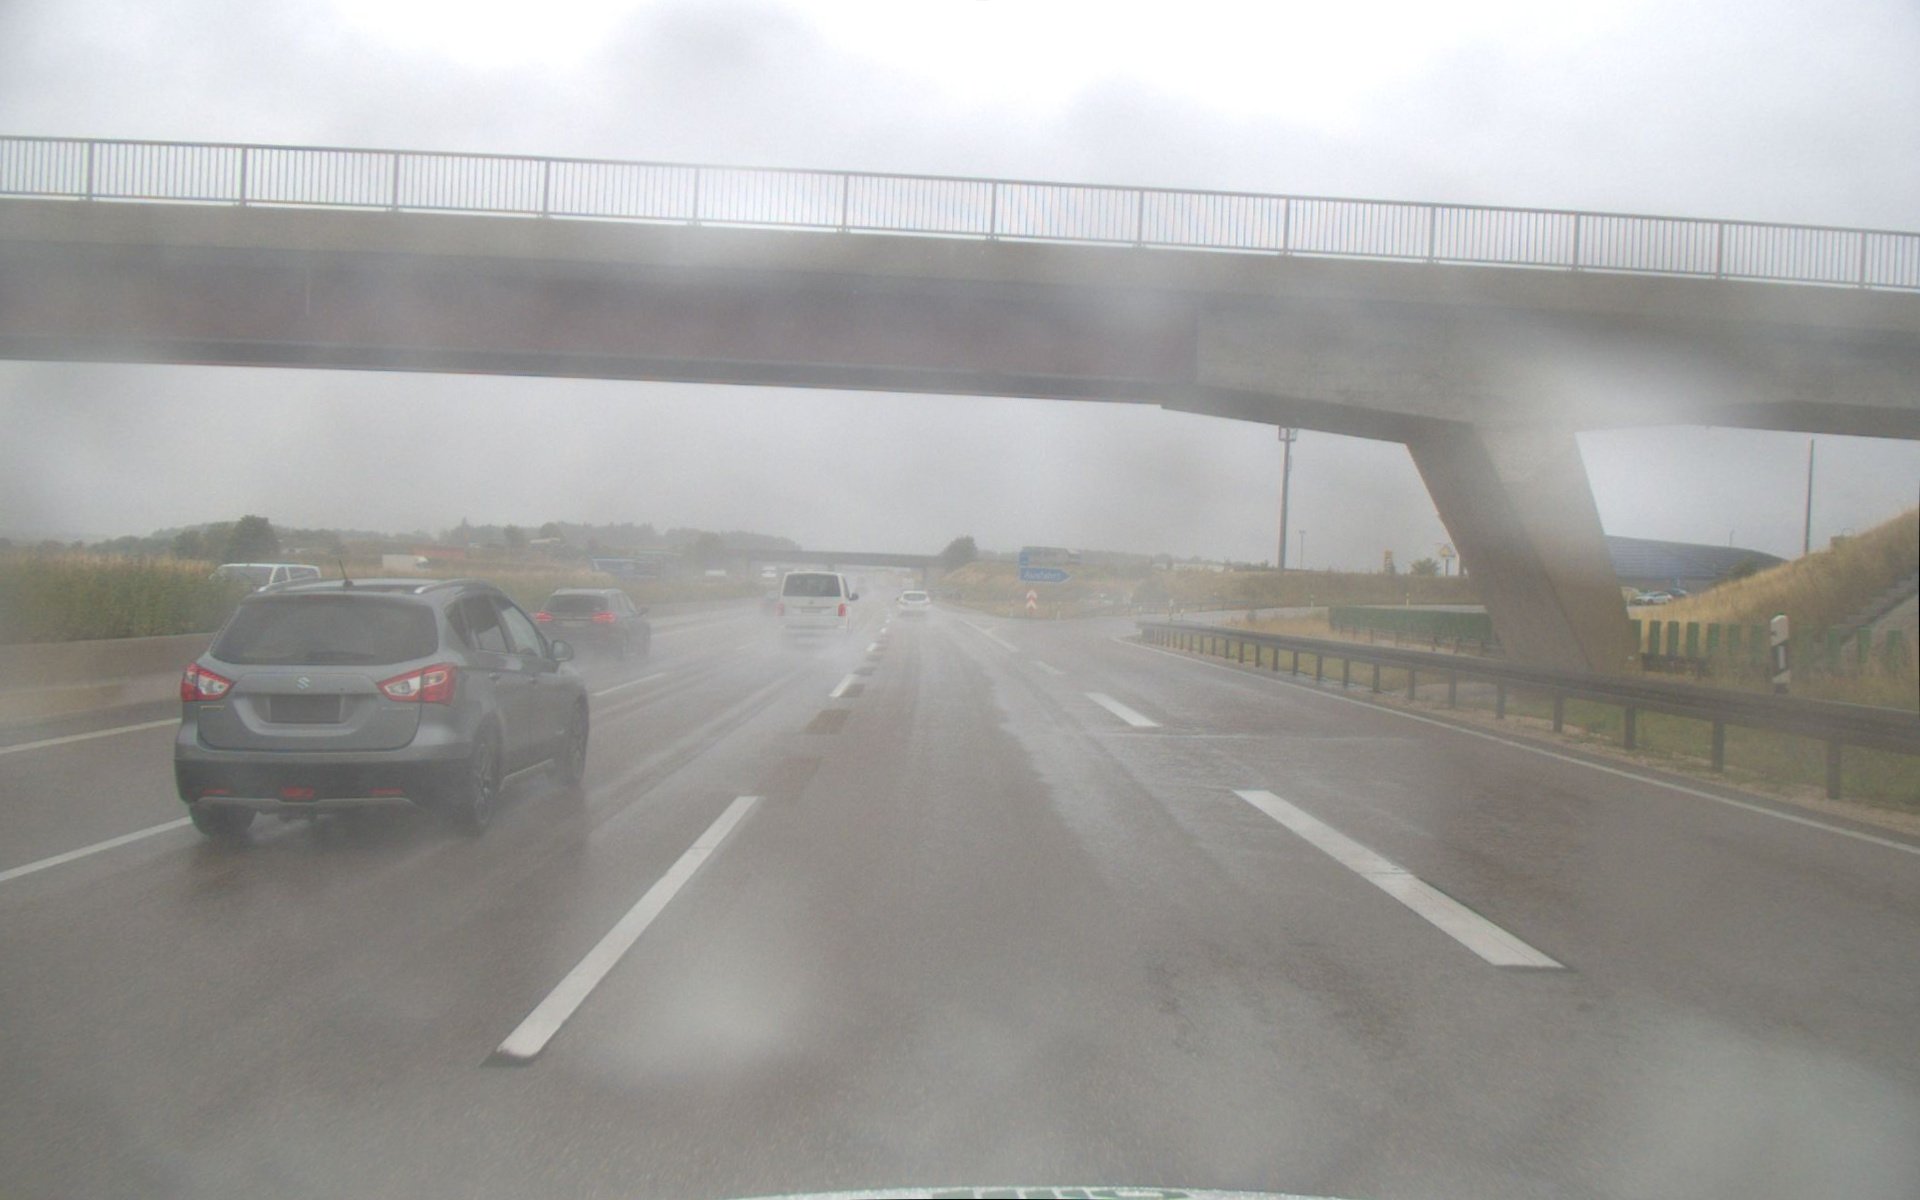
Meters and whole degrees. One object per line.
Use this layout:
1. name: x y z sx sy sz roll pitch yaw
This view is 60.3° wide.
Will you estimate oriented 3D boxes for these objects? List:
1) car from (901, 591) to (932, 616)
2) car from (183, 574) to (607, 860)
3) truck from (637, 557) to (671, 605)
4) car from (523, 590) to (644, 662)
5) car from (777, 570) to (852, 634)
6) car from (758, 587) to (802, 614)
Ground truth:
1. car: -2.182 0.167 83.332 1.437 1.229 2.991 1 0 0
2. car: -3.566 0.626 11.368 1.811 1.539 4.749 1 0 -7
3. truck: -26.749 -1.651 144.712 2.169 4.053 5.183 1 0 -2
4. car: -7.687 0.500 34.109 1.580 1.378 3.999 1 0 -1
5. car: -3.873 0.058 44.656 1.860 1.613 3.997 1 0 -3
6. car: -8.650 0.027 79.877 1.437 1.279 3.342 1 0 6
